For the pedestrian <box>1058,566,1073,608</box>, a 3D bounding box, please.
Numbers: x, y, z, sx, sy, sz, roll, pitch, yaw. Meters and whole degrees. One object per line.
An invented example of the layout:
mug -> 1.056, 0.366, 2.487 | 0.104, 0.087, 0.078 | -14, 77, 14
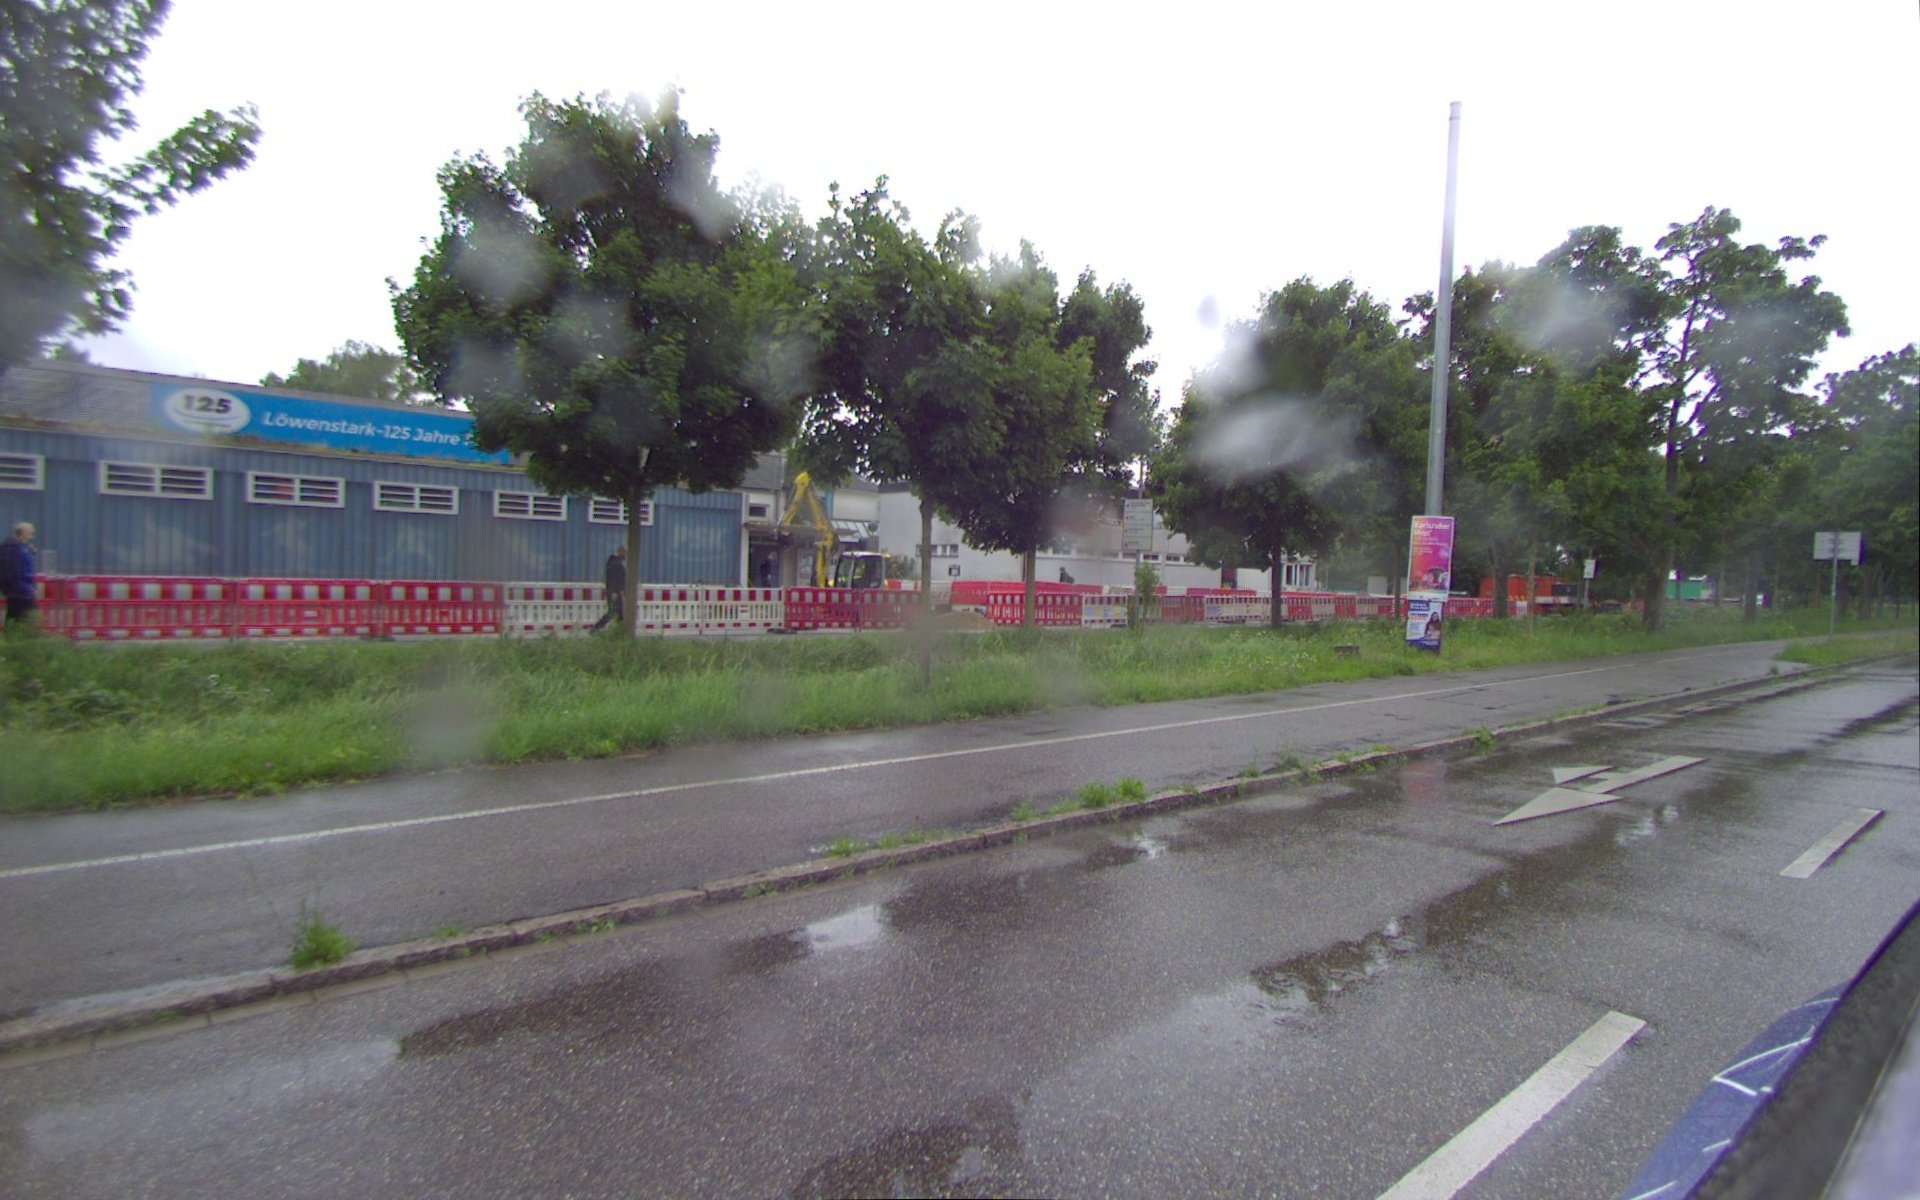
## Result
pedestrian -> 4.724, -0.574, 45.251 | 0.487, 1.864, 0.363 | 1, 1, -40

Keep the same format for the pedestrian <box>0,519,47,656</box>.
pedestrian -> -13.619, -0.175, 14.455 | 0.861, 1.920, 0.579 | 0, 0, -42

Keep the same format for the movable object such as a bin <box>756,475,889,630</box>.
movable object such as a bin -> -4.175, -1.385, 31.048 | 3.840, 4.482, 1.557 | 0, 0, -40

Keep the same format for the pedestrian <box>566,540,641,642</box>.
pedestrian -> -7.105, -0.176, 20.188 | 1.192, 1.960, 0.813 | 0, 0, -43

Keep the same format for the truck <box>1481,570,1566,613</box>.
truck -> 40.742, -0.644, 73.012 | 8.601, 2.935, 2.807 | -1, 0, -42
